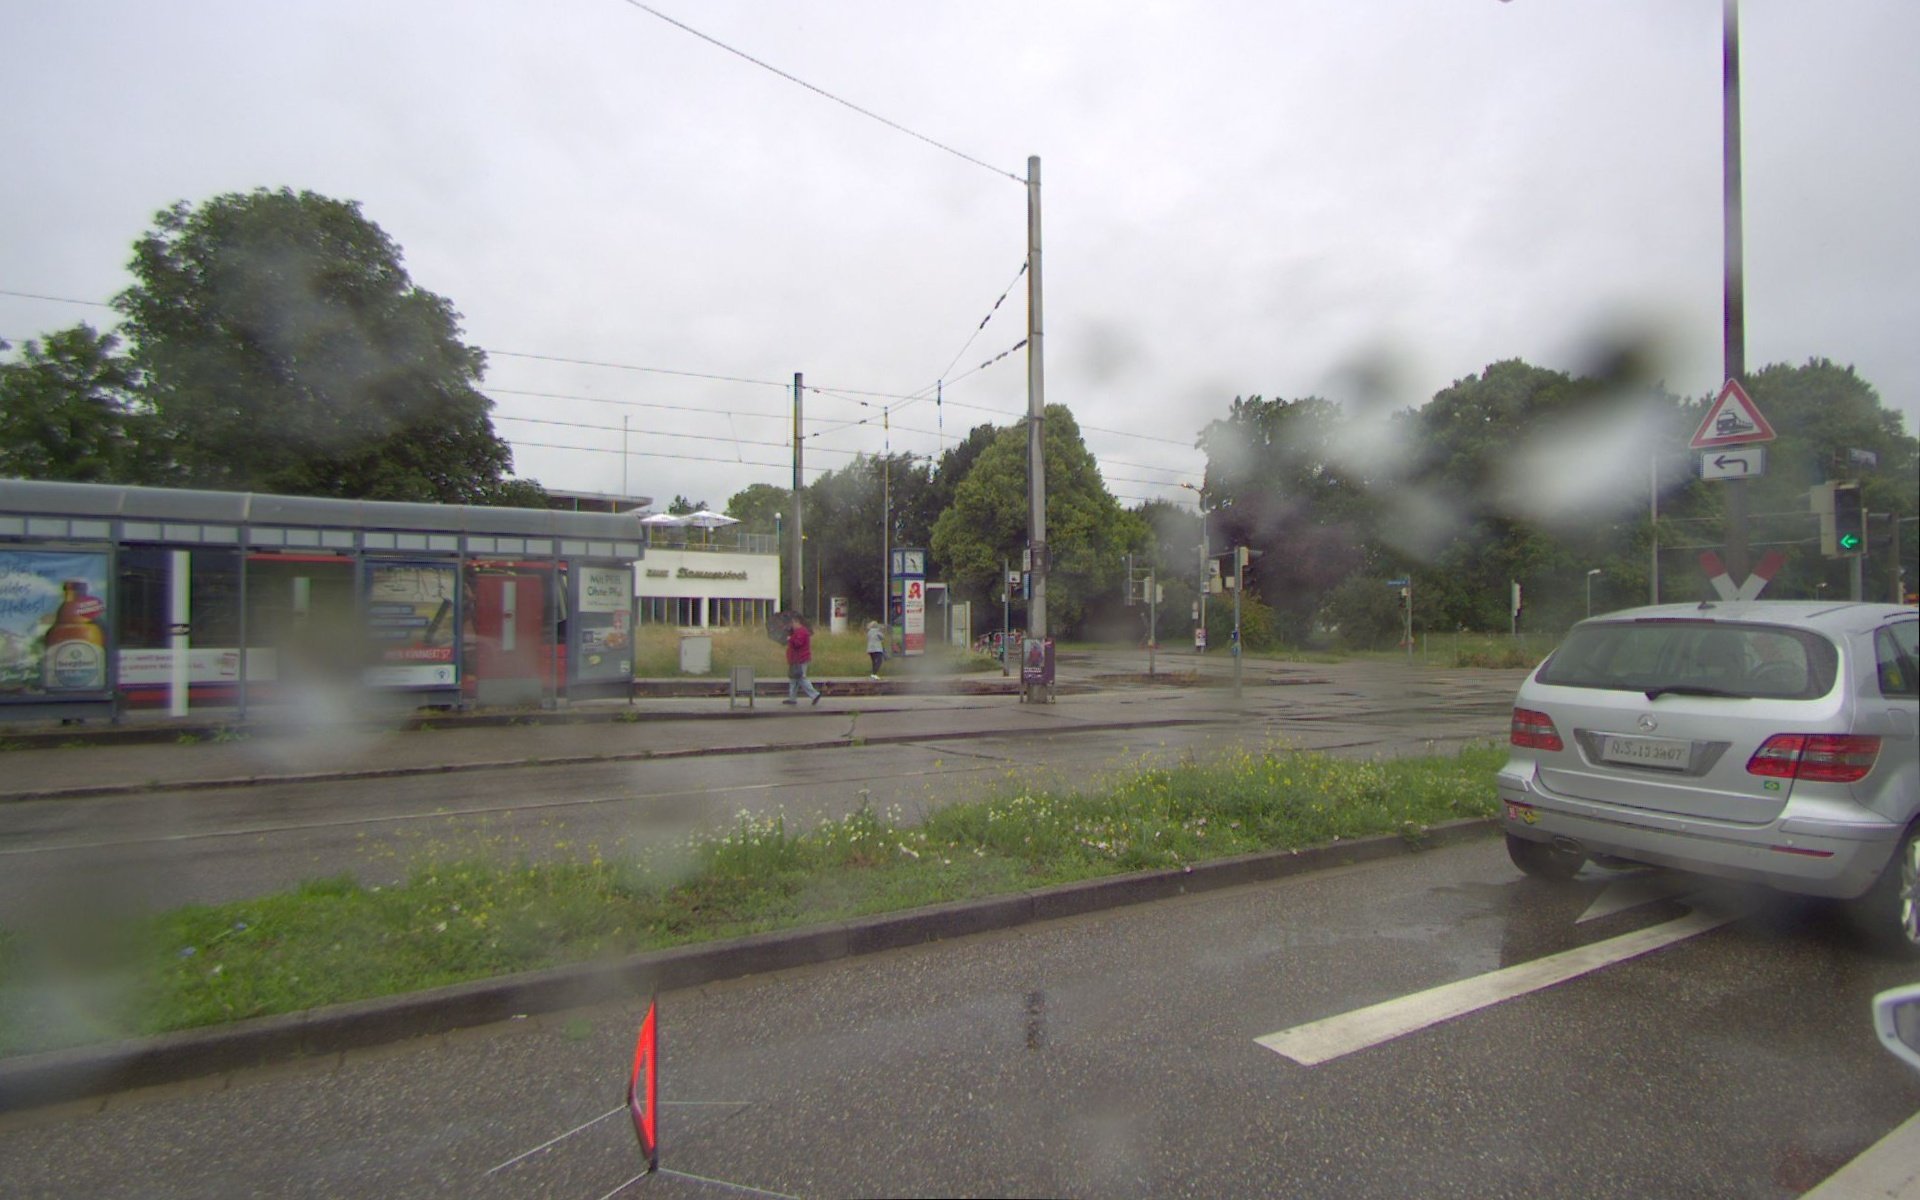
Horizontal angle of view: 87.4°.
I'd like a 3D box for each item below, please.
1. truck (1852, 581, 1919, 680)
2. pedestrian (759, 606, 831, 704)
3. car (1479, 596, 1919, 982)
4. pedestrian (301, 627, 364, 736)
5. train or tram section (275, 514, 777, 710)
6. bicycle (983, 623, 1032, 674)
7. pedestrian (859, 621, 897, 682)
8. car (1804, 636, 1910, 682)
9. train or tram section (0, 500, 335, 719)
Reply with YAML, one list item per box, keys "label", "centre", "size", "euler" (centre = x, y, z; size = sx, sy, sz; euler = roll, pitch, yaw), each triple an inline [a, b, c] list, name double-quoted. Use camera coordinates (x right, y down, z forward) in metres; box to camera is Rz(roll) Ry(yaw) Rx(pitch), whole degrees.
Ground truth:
- label: "truck"
  centre: [45.110, 1.427, 46.090]
  size: [10.289, 4.223, 3.367]
  euler: [2, 0, -32]
- label: "pedestrian"
  centre: [-2.978, 0.970, 18.123]
  size: [0.985, 1.698, 0.920]
  euler: [1, 0, -30]
- label: "car"
  centre: [5.008, 0.811, 5.859]
  size: [3.967, 1.564, 1.727]
  euler: [1, -1, -31]
- label: "pedestrian"
  centre: [-8.798, 1.117, 14.100]
  size: [0.691, 1.472, 0.623]
  euler: [1, -1, -28]
- label: "train or tram section"
  centre: [-8.868, 0.314, 21.431]
  size: [9.169, 3.434, 3.516]
  euler: [1, -2, -30]
- label: "bicycle"
  centre: [1.727, 1.735, 36.210]
  size: [1.714, 1.784, 0.637]
  euler: [1, -1, -30]
- label: "pedestrian"
  centre: [-2.330, 1.445, 28.485]
  size: [0.795, 1.679, 0.776]
  euler: [1, 0, -31]
- label: "car"
  centre: [37.157, 2.411, 41.606]
  size: [4.474, 1.732, 1.984]
  euler: [2, 0, -30]
- label: "train or tram section"
  centre: [-16.155, 0.186, 17.109]
  size: [9.169, 3.435, 3.516]
  euler: [1, -2, -30]
